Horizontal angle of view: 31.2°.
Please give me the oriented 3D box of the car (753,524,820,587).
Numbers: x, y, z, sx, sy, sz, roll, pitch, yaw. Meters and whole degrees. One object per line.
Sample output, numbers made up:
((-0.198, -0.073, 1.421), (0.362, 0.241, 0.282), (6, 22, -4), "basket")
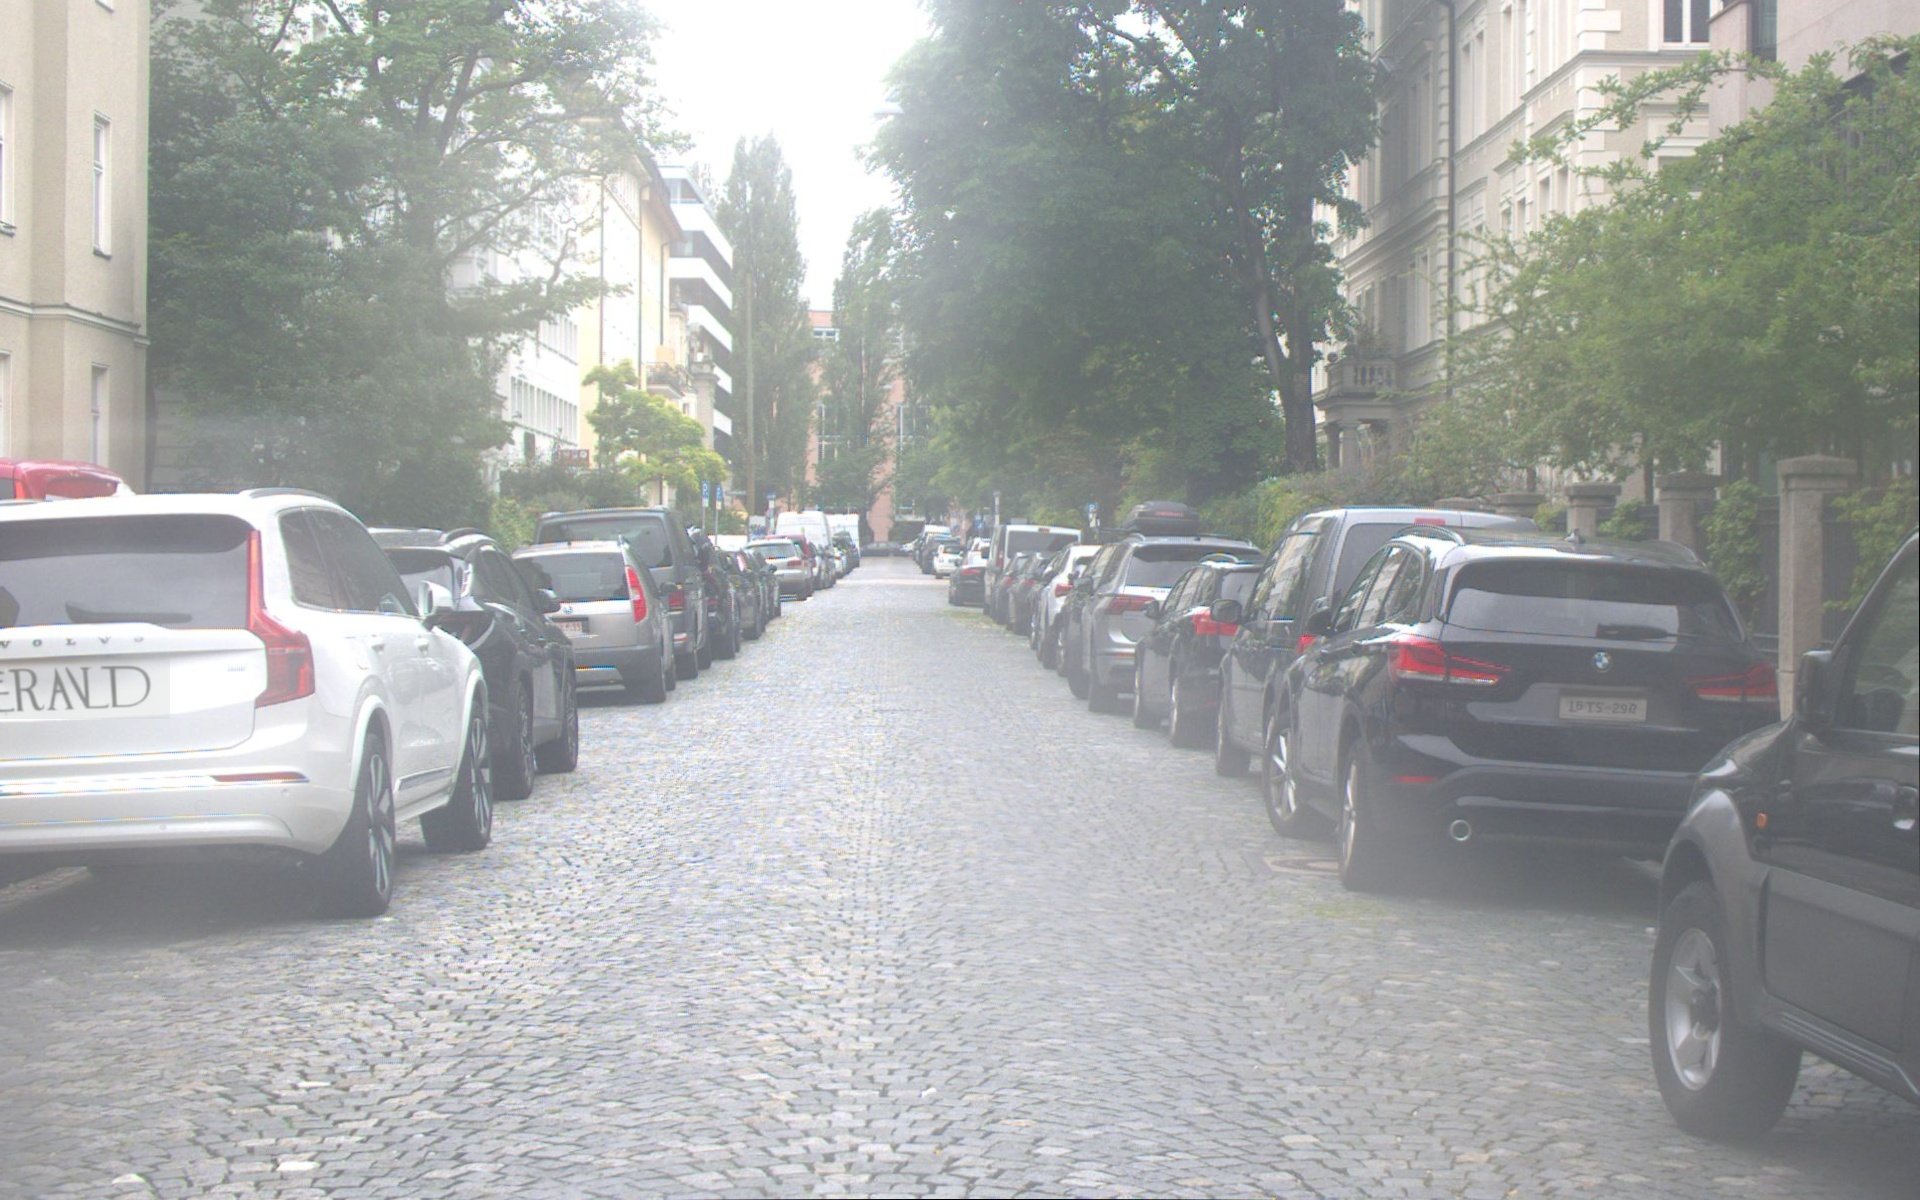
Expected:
((-5.196, -1.358, 103.493), (1.873, 1.770, 4.123), (-3, 1, -2), "car")

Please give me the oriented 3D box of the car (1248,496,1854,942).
((2.588, 0.437, 16.280), (1.860, 1.696, 4.813), (3, 1, -1), "car")

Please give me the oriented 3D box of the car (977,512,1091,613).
((1.499, -0.799, 71.269), (1.873, 1.921, 5.165), (3, 1, -3), "car")

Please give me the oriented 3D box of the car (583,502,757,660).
((-3.847, -0.297, 46.387), (1.993, 1.910, 5.178), (-3, 1, -2), "car")

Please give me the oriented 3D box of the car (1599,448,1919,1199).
((2.742, 0.586, 7.799), (1.618, 1.745, 3.888), (3, 1, -2), "car")

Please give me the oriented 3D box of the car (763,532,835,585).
((-5.088, -1.315, 108.966), (1.873, 1.574, 4.208), (3, 1, 2), "car")

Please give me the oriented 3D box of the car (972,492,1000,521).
((1.872, -6.716, 248.004), (1.993, 2.007, 4.000), (1, 1, 0), "car")

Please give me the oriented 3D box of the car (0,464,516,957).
((-3.333, 0.374, 15.373), (2.006, 1.802, 5.175), (-1, 1, 0), "car")

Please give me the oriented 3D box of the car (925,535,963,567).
((-0.761, -2.356, 165.576), (1.790, 1.515, 4.000), (1, 1, 0), "car")

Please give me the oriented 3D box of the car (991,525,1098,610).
((1.576, -0.638, 65.641), (1.837, 1.485, 4.422), (3, 1, 0), "car")

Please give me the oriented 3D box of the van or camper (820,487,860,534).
((-7.261, -5.421, 208.428), (2.256, 2.733, 5.098), (1, 1, -1), "van or camper")

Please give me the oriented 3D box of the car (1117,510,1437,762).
((2.442, 0.223, 27.654), (1.873, 1.729, 4.659), (4, 1, -2), "car")

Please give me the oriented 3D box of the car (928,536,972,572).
((-0.438, -1.951, 144.919), (1.790, 1.515, 4.000), (1, 1, 0), "car")

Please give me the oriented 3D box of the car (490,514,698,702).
((-3.653, 0.026, 34.967), (1.865, 1.729, 4.404), (-2, 1, -4), "car")

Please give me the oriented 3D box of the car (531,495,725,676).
((-3.781, -0.209, 39.854), (1.873, 1.910, 4.828), (-2, 1, -2), "car")

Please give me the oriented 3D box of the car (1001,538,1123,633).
((1.703, -0.278, 58.681), (1.713, 1.467, 4.269), (3, 1, -2), "car")

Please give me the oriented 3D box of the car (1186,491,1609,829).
((2.625, 0.299, 21.721), (1.788, 1.790, 4.510), (4, 1, -3), "car")

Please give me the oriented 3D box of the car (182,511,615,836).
((-3.432, 0.376, 21.939), (1.917, 1.729, 4.756), (-4, 1, 0), "car")

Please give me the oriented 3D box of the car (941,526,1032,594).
((0.612, -0.987, 83.263), (1.873, 1.498, 4.512), (3, 1, -3), "car")

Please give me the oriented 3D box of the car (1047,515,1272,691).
((2.163, -0.016, 38.561), (1.873, 1.729, 4.748), (4, 1, -3), "car")

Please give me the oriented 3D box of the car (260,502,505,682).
((-6.212, -0.126, 37.449), (1.945, 1.729, 4.658), (3, 1, -2), "car")

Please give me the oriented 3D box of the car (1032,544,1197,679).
((1.909, 0.100, 43.696), (1.873, 1.485, 4.617), (3, 2, 1), "car")

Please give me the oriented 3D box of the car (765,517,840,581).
((-4.183, -1.371, 90.925), (1.873, 1.574, 4.256), (-2, 1, -3), "car")

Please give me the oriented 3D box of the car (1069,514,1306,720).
((2.076, 0.112, 32.620), (1.873, 1.729, 4.892), (2, 1, 0), "car")

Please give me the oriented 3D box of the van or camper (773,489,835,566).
((-5.612, -2.608, 123.898), (1.993, 2.643, 4.000), (-2, 1, 0), "van or camper")

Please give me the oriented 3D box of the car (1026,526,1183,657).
((1.993, -0.156, 48.671), (1.873, 1.664, 4.658), (3, 1, -1), "car")

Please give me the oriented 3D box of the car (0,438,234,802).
((-5.905, 0.029, 20.904), (1.994, 1.924, 5.331), (2, 1, -2), "car")
